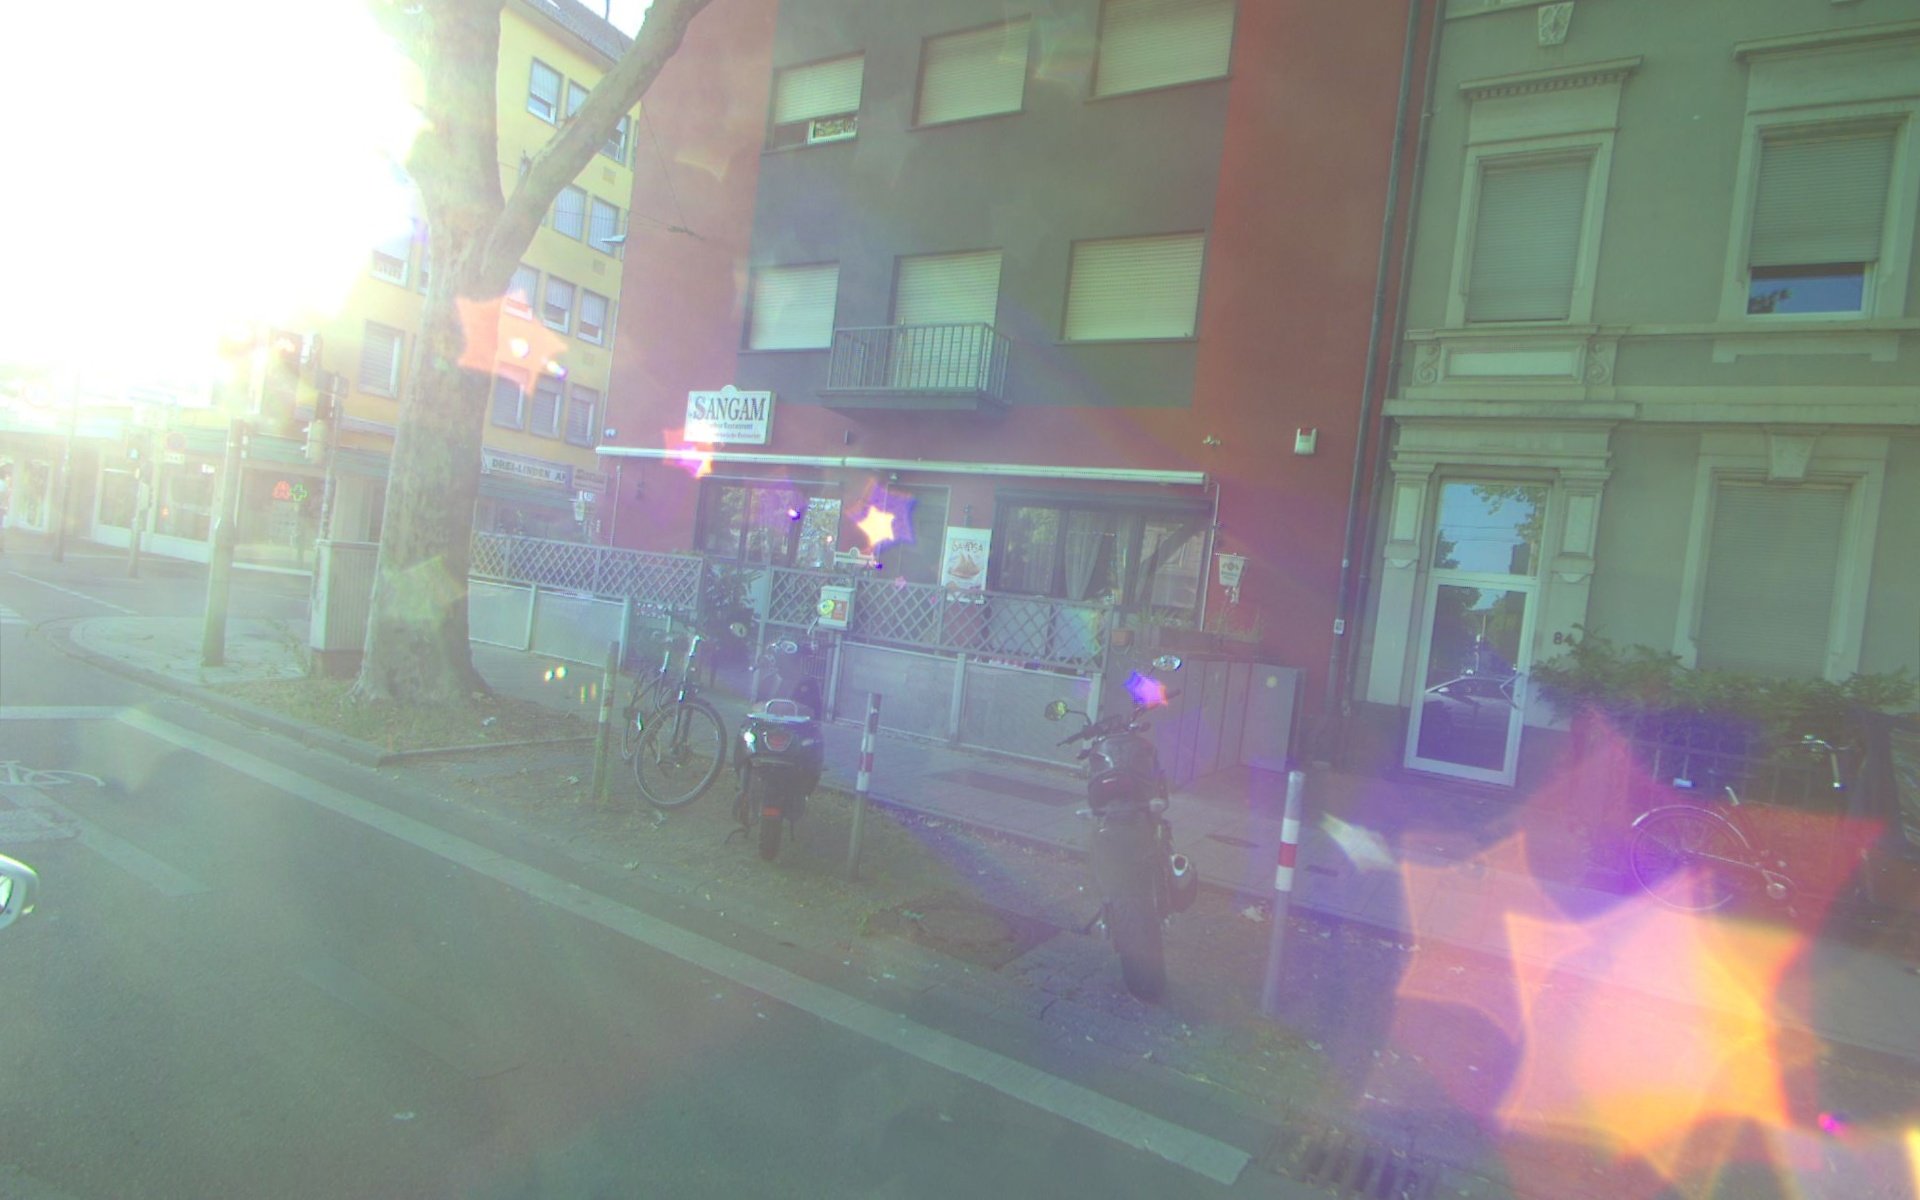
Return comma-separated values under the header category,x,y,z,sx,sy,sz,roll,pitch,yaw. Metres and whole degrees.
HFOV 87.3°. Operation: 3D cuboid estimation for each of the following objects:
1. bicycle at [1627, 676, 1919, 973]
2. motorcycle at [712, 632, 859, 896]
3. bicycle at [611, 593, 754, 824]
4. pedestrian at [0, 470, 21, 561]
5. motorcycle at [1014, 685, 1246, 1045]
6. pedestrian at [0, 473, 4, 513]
category,x,y,z,sx,sy,sz,roll,pitch,yaw
bicycle,5.368,1.333,5.815,2.356,1.443,0.608,7,-1,32
motorcycle,-1.038,0.852,5.970,0.591,1.166,1.994,7,0,-10
bicycle,-1.986,0.672,6.996,0.686,1.219,1.837,8,2,-20
pedestrian,-19.731,-1.755,20.446,0.676,1.792,0.680,7,1,32
motorcycle,0.820,1.098,4.933,0.752,1.077,2.212,7,2,9
pedestrian,-21.057,-1.888,21.472,0.676,1.792,0.680,7,1,32
